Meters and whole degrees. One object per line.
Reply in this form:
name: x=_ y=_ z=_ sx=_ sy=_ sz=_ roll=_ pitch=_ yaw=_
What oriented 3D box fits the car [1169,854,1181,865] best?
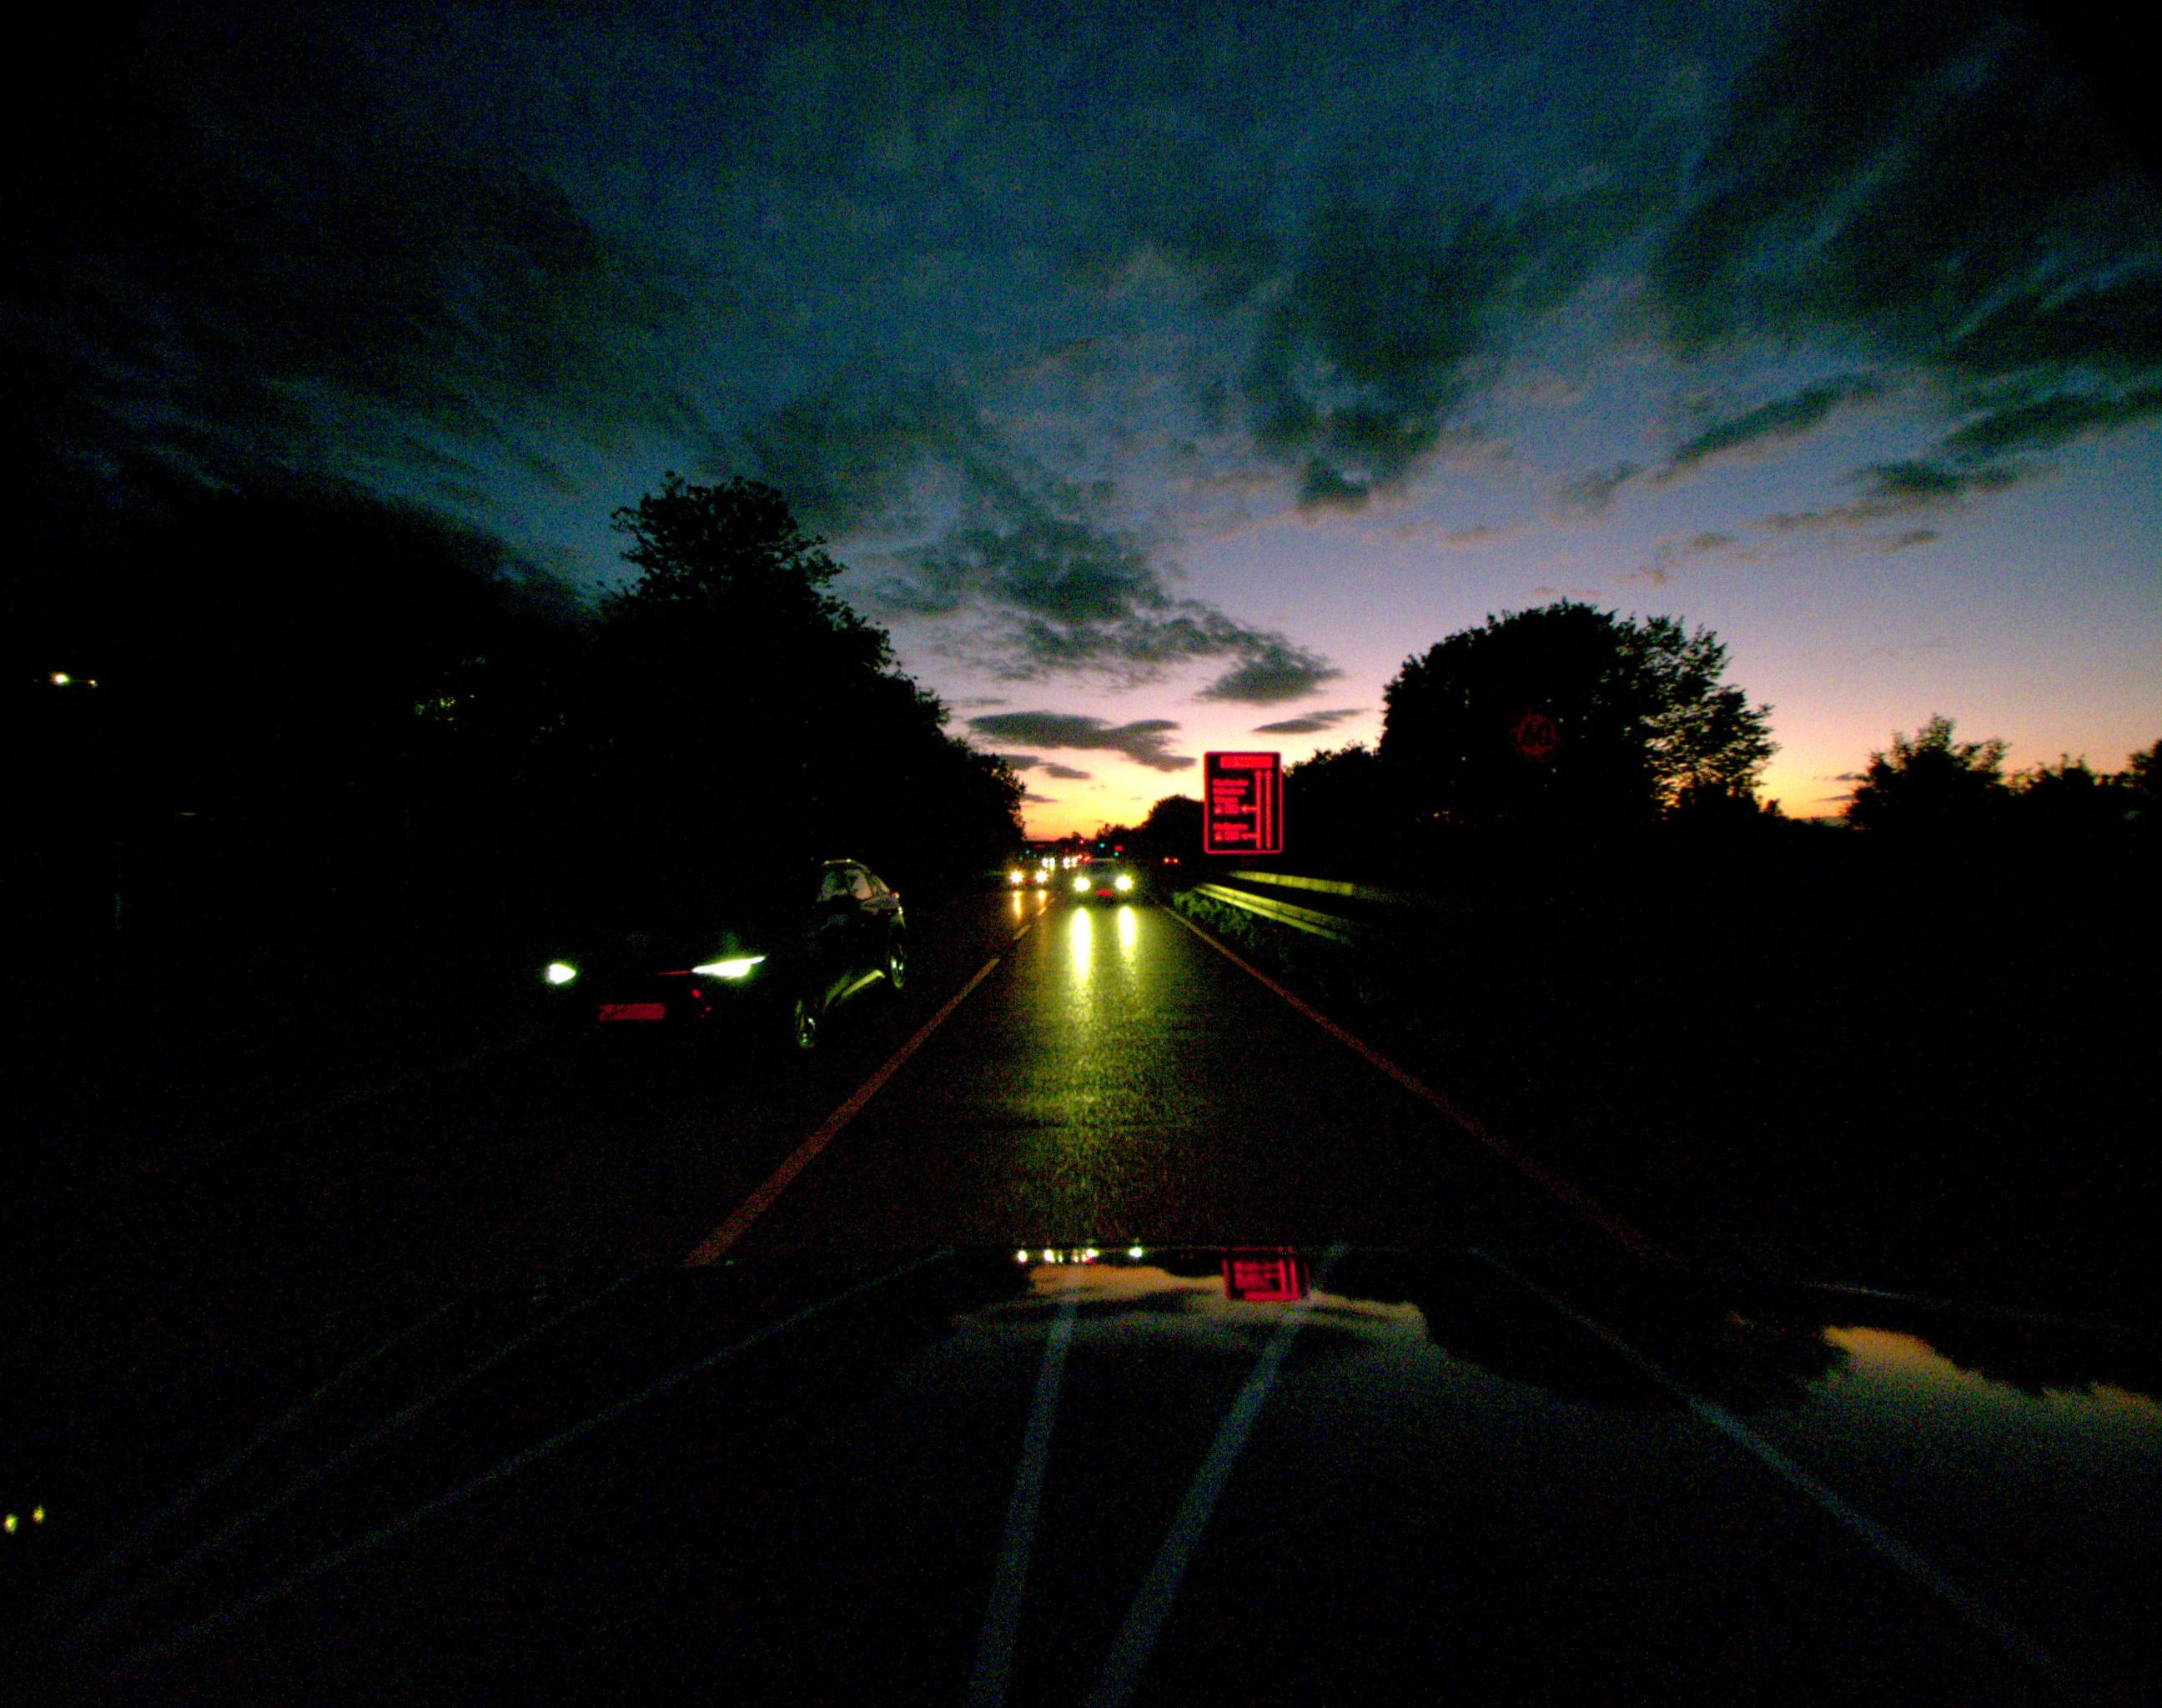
car: x=15.568 y=0.848 z=125.597 sx=1.798 sy=1.661 sz=4.504 roll=-1 pitch=0 yaw=9

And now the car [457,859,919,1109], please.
car: x=-3.159 y=0.896 z=7.487 sx=1.998 sy=1.600 sz=4.711 roll=-2 pitch=0 yaw=1

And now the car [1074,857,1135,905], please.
car: x=0.751 y=0.888 z=26.710 sx=1.901 sy=1.472 sz=4.514 roll=-2 pitch=0 yaw=0

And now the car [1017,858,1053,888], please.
car: x=-2.452 y=0.976 z=41.125 sx=1.624 sy=1.460 sz=3.871 roll=-2 pitch=0 yaw=1

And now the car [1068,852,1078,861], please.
car: x=-1.597 y=0.511 z=147.681 sx=1.999 sy=1.602 sz=4.501 roll=-1 pitch=0 yaw=-1

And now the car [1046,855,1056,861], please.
car: x=-6.588 y=0.835 z=167.184 sx=1.999 sy=1.423 sz=4.501 roll=0 pitch=0 yaw=-1
